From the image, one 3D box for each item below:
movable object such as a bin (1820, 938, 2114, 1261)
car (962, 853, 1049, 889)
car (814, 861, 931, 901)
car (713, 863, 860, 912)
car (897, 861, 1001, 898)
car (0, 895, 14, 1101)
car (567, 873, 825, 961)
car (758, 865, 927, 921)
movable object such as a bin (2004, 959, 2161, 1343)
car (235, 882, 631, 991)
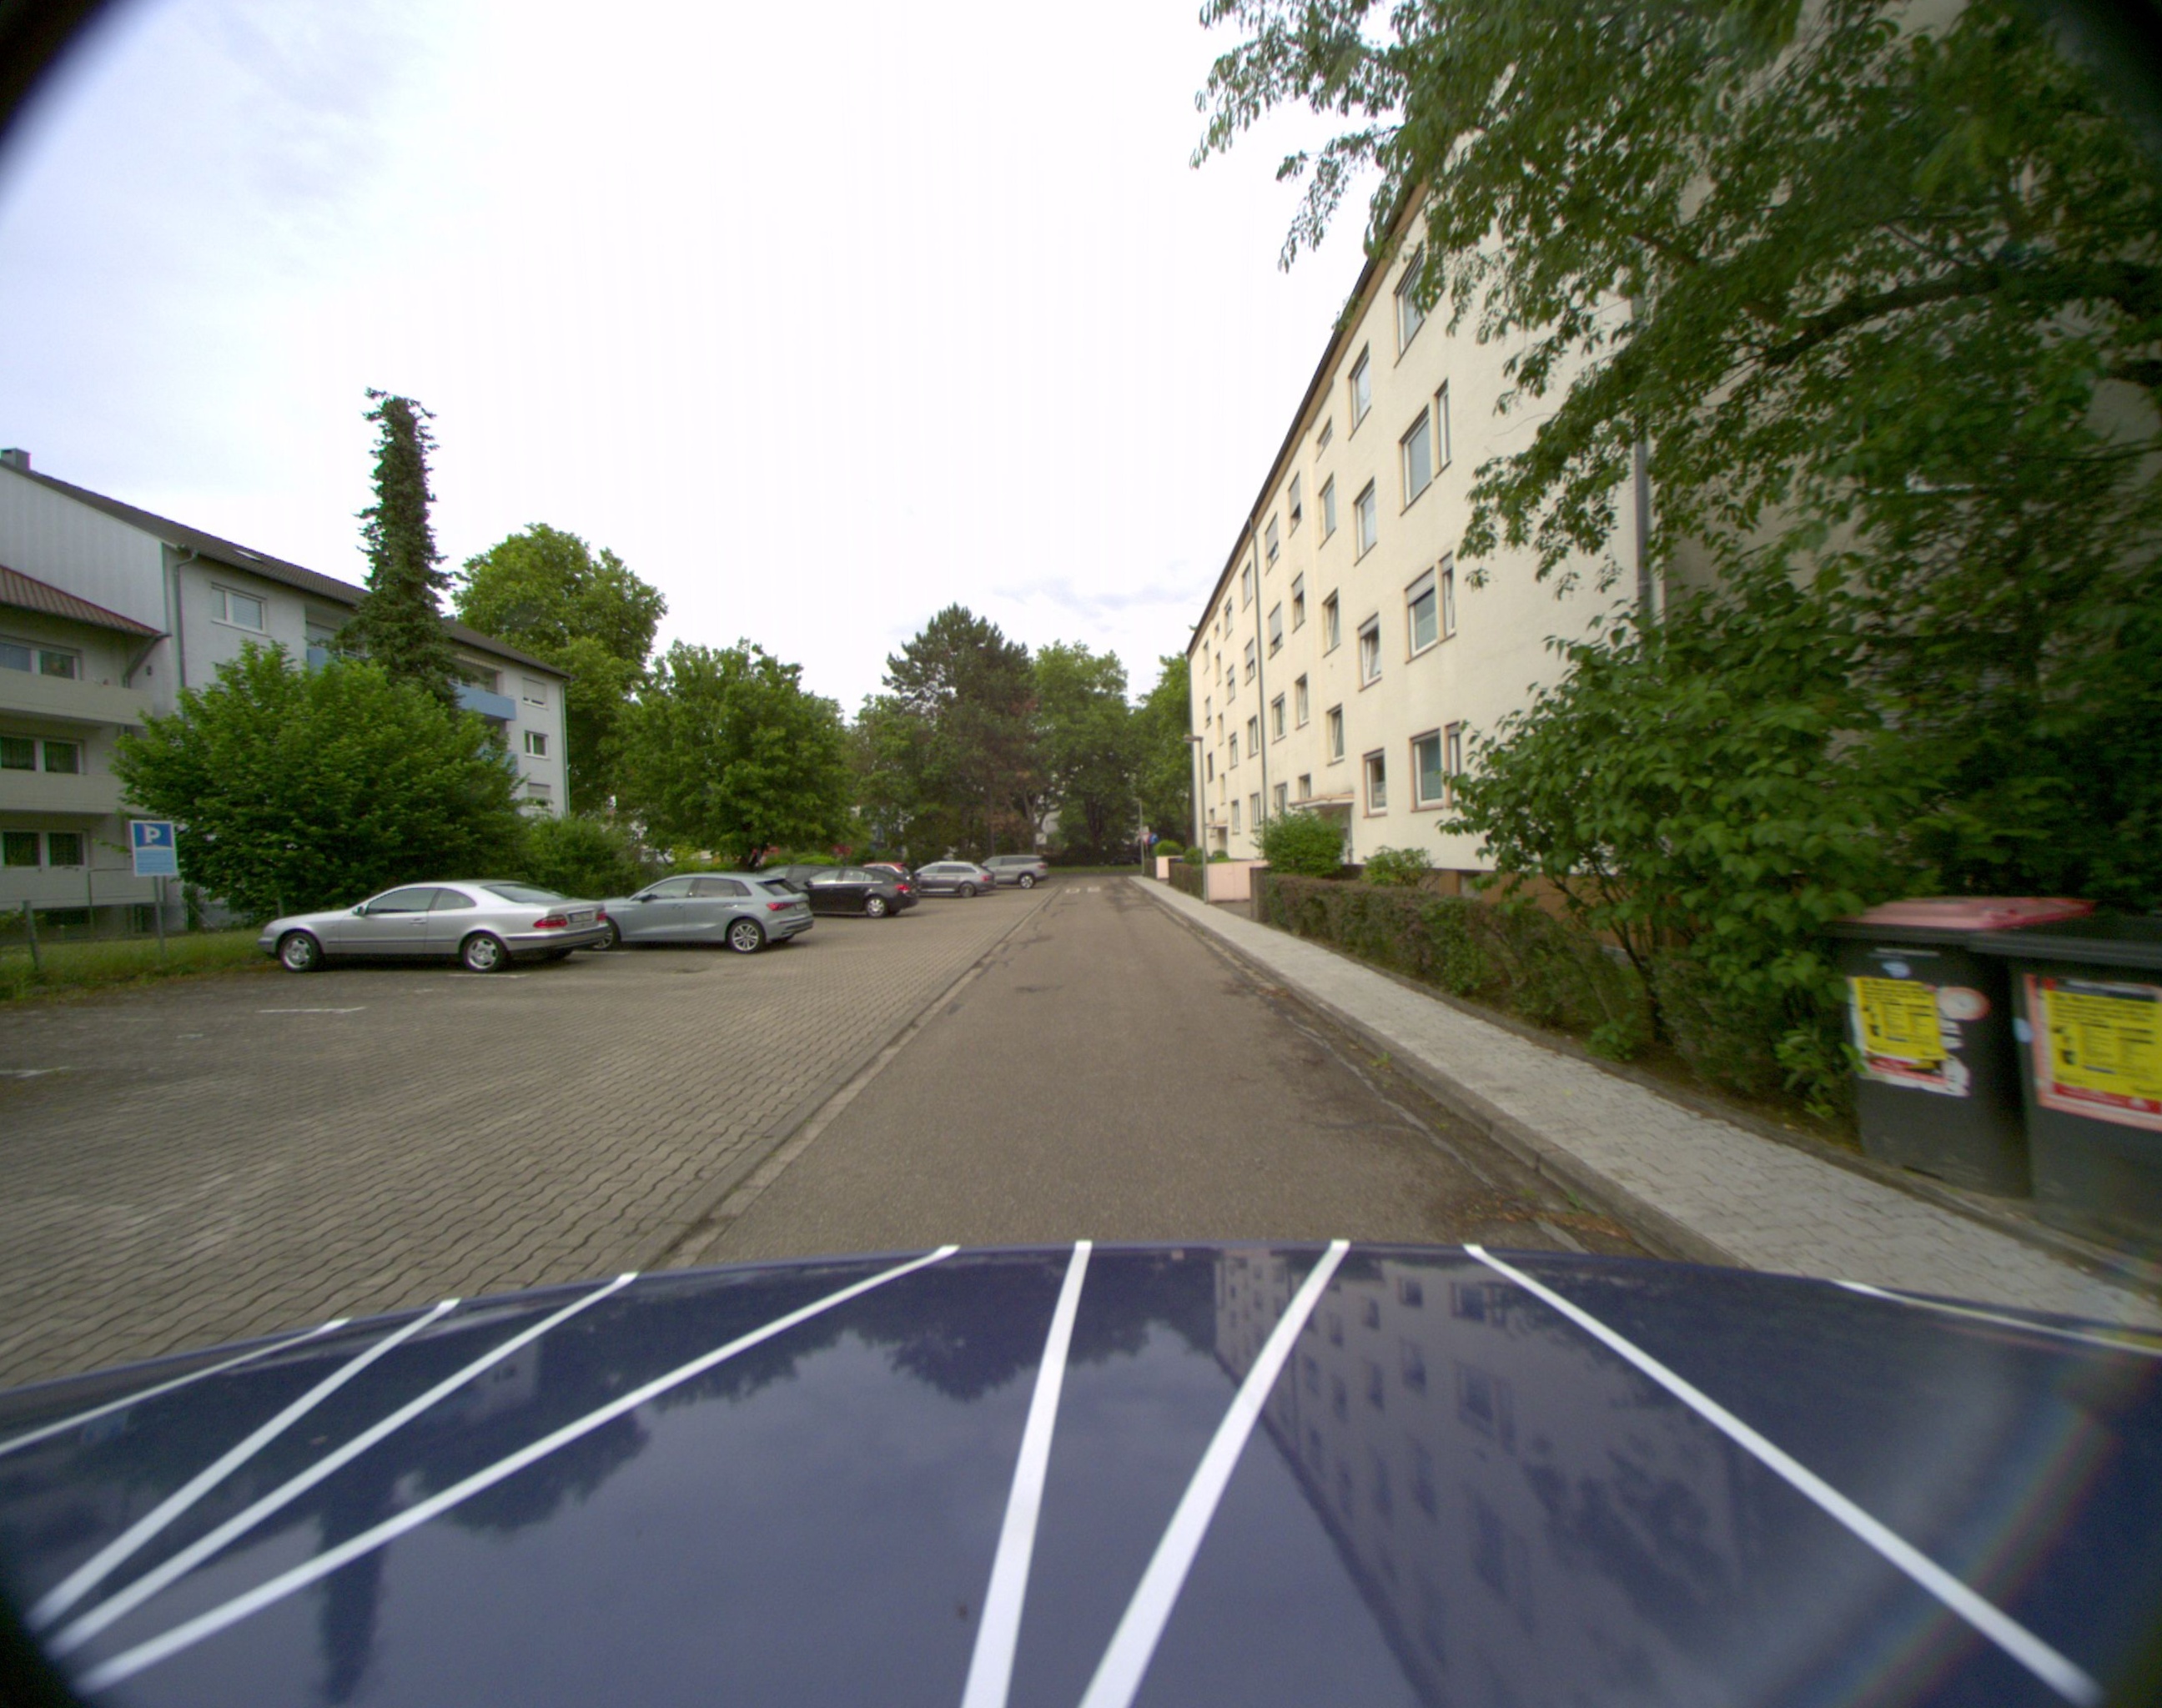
[{"bbox_3d":[3.355,0.865,2.905,0.597,1.016,0.536,0,1,-19],"label":"movable object such as a bin"},{"bbox_3d":[-3.681,0.836,37.647,4.104,1.636,1.787,-1,1,0],"label":"car"},{"bbox_3d":[-8.203,1.044,30.155,4.103,1.476,1.787,1,0,1],"label":"car"},{"bbox_3d":[-9.554,1.066,24.866,4.103,1.476,1.787,1,0,1],"label":"car"},{"bbox_3d":[-5.614,1.072,32.594,4.104,1.476,1.787,-1,1,0],"label":"car"},{"bbox_3d":[-10.307,1.120,4.734,4.586,1.521,1.866,-1,1,0],"label":"car"},{"bbox_3d":[-7.173,1.145,14.458,3.976,1.426,1.731,-1,1,-2],"label":"car"},{"bbox_3d":[-6.843,1.107,22.141,4.334,1.476,1.787,1,0,1],"label":"car"},{"bbox_3d":[3.315,0.868,2.261,0.597,1.016,0.536,0,1,-19],"label":"movable object such as a bin"},{"bbox_3d":[-9.898,1.223,11.940,4.403,1.377,2.026,-1,1,-2],"label":"car"}]
